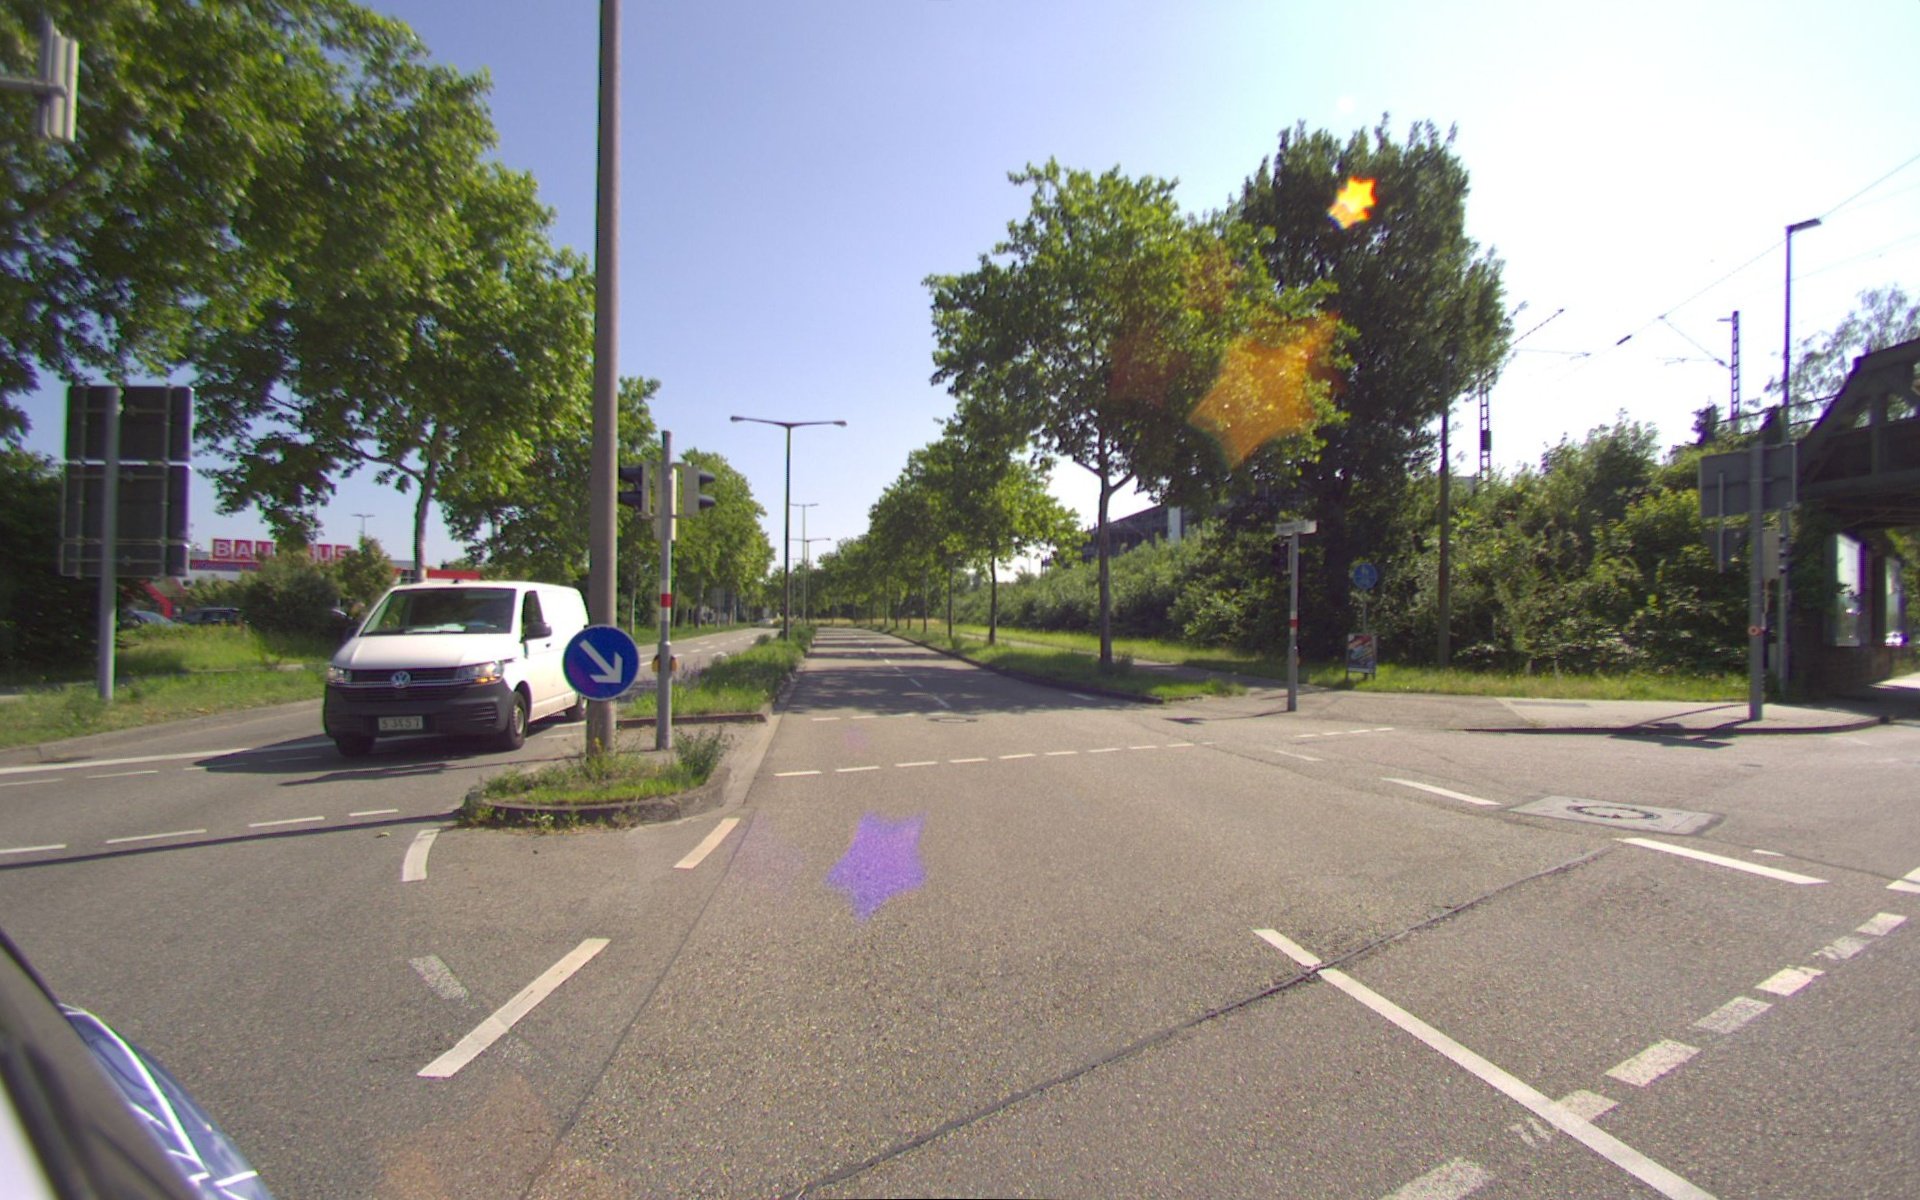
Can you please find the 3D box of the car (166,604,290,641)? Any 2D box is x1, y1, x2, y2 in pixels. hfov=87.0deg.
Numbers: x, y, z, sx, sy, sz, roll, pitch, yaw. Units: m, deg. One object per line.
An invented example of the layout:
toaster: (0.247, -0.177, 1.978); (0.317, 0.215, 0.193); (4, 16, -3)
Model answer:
car: (-32.053, 0.978, 44.426); (3.940, 1.493, 2.002); (-2, 0, -4)

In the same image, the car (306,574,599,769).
car: (-5.896, 0.740, 12.503); (1.844, 1.915, 4.891); (0, -1, -9)
